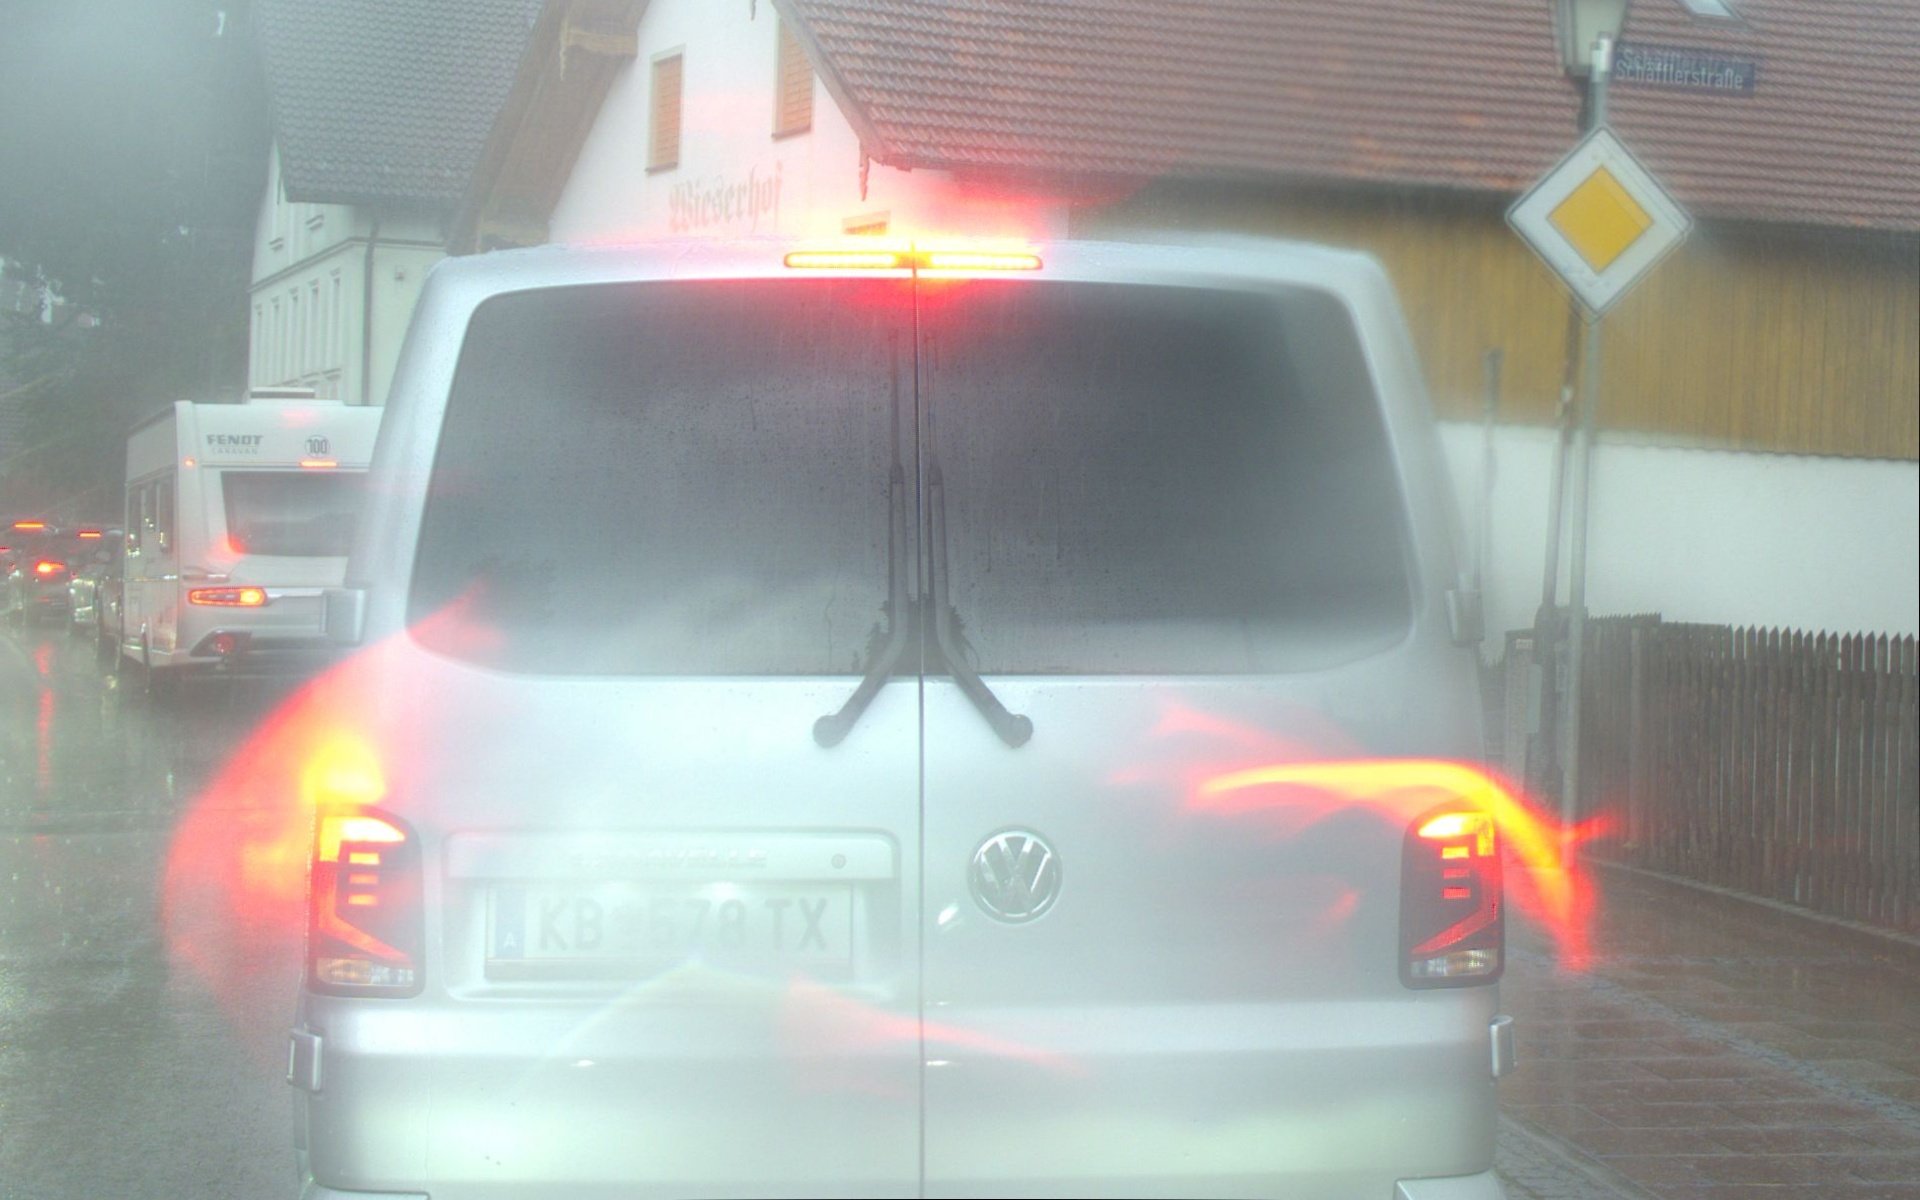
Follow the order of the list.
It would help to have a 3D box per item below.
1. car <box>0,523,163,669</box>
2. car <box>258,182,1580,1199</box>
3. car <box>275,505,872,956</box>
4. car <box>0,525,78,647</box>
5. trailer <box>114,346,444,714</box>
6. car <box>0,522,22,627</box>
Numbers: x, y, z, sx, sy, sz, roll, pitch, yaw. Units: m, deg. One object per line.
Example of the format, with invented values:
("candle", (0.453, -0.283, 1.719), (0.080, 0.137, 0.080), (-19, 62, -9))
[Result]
("car", (-13.145, -0.107, 50.466), (2.168, 1.892, 5.016), (2, 1, -20))
("car", (-0.218, 0.391, 7.165), (1.776, 1.956, 5.075), (0, 1, -4))
("car", (-1.824, 0.397, 14.699), (1.708, 1.578, 4.687), (-1, 2, -17))
("car", (-16.454, -0.300, 58.668), (2.168, 1.892, 5.016), (2, 1, -20))
("trailer", (-6.137, -0.599, 30.341), (2.270, 2.894, 6.134), (1, 1, -17))
("car", (-19.524, -0.562, 66.545), (2.168, 1.892, 5.016), (2, 1, -20))
